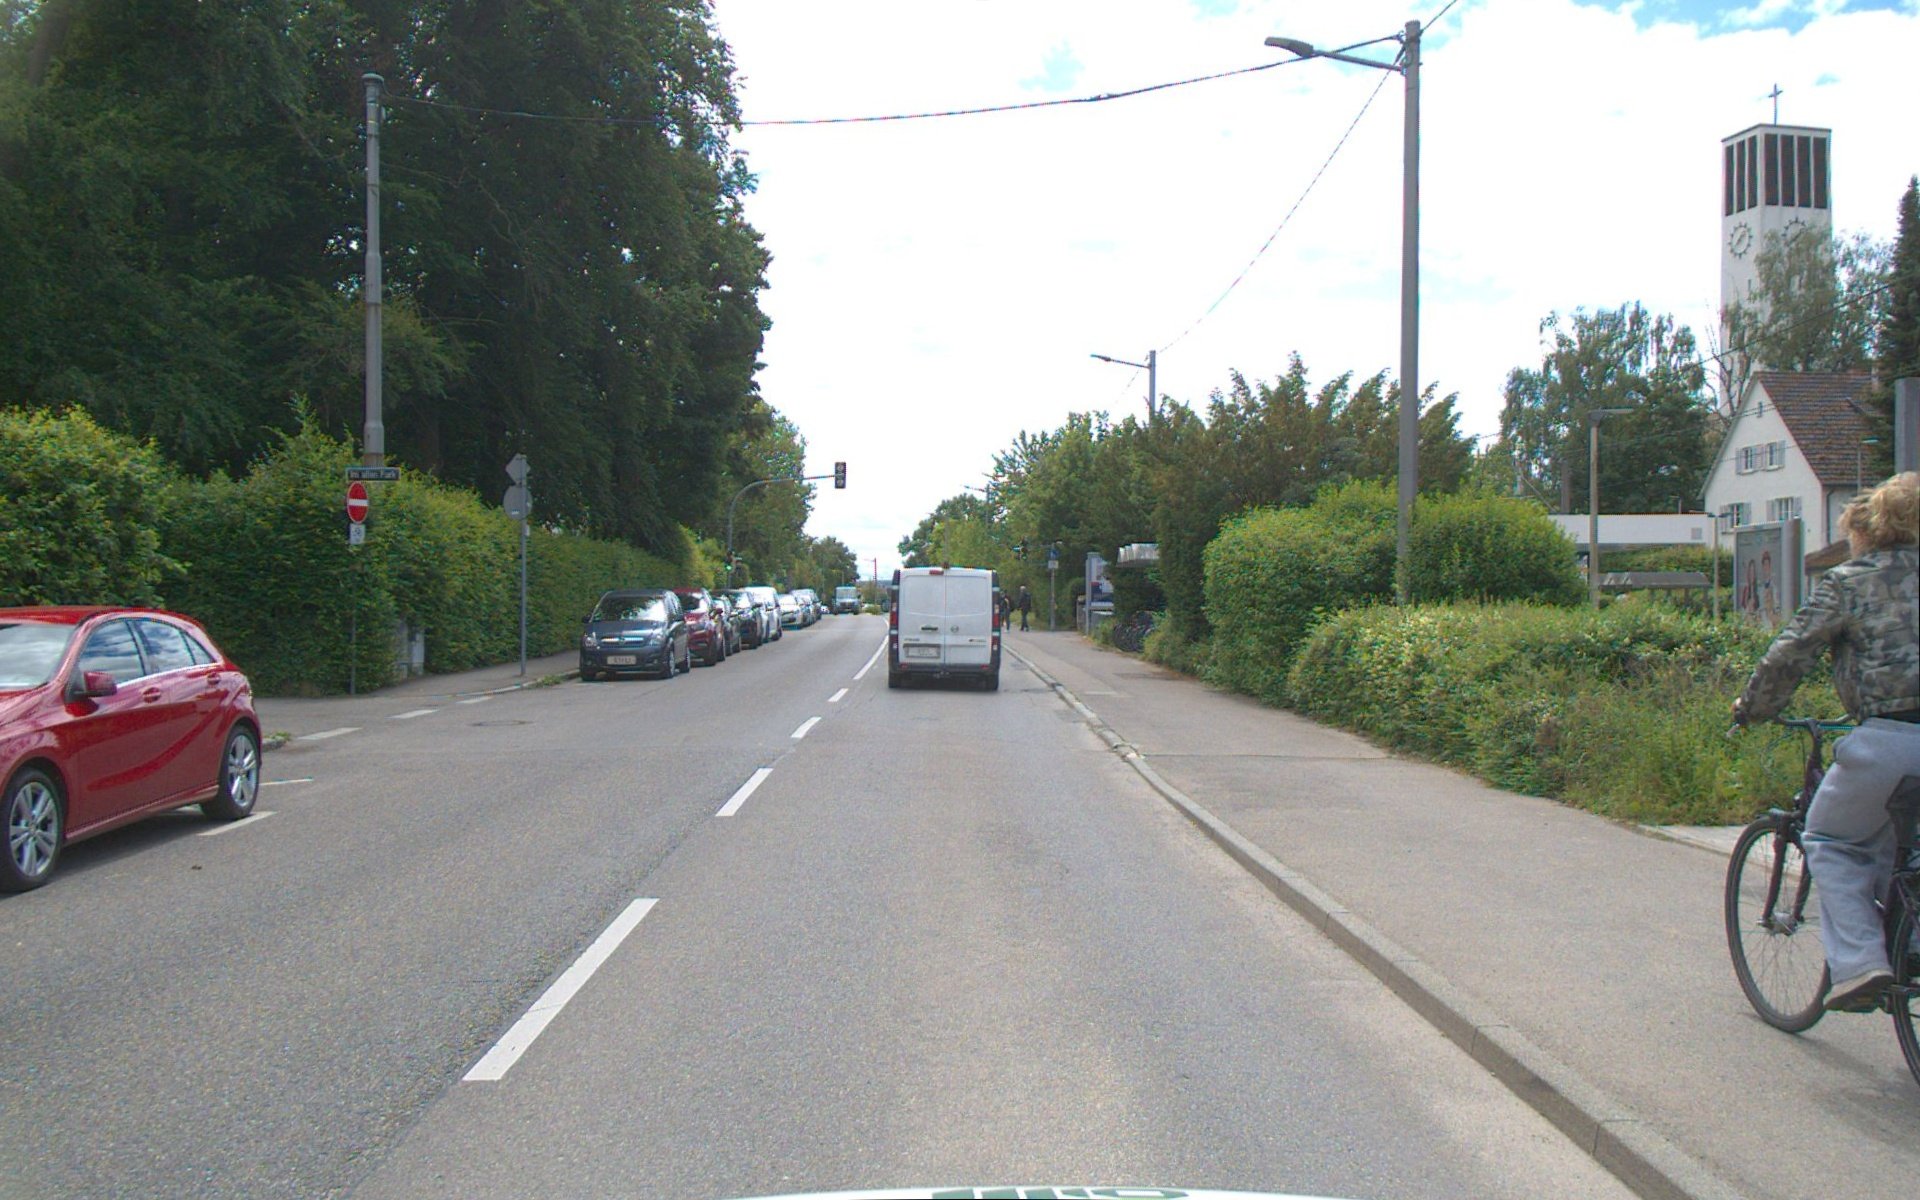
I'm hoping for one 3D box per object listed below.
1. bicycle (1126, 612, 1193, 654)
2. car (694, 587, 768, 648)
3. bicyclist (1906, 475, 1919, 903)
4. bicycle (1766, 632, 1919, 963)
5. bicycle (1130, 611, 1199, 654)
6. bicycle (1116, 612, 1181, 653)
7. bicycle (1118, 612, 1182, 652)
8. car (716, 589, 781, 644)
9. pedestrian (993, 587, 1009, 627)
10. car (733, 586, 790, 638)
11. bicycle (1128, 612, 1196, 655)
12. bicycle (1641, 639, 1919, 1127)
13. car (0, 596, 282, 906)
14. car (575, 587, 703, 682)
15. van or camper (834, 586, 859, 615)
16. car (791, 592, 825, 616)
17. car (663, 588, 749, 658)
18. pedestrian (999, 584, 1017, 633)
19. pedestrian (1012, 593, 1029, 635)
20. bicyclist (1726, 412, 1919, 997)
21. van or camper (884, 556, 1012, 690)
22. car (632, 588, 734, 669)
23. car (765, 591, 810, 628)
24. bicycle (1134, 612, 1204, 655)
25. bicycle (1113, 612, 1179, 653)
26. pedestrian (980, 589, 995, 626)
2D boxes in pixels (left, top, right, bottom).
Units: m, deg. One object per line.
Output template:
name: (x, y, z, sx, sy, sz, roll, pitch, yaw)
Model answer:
bicycle: (5.183, 0.861, 42.952, 1.664, 1.048, 0.491, 1, 0, -3)
car: (-6.557, 0.470, 47.584, 1.726, 1.685, 3.813, -1, 0, -2)
bicyclist: (4.096, 0.356, 6.178, 0.626, 1.678, 0.818, 1, 0, -2)
bicycle: (4.081, 0.798, 6.490, 0.606, 1.268, 2.395, 1, 0, -1)
bicycle: (5.177, 0.823, 41.813, 1.664, 1.048, 0.491, 1, 0, -3)
bicycle: (5.019, 0.858, 44.156, 1.664, 1.048, 0.491, 1, 0, -3)
bicycle: (5.134, 0.867, 44.711, 1.664, 1.048, 0.491, 1, 0, -3)
car: (-6.726, 0.490, 52.830, 1.726, 1.685, 3.813, -1, 0, -2)
pedestrian: (1.926, 0.329, 77.907, 0.638, 1.838, 0.564, 1, 0, -13)
car: (-7.136, 0.402, 59.791, 1.726, 1.787, 3.813, -1, 0, -2)
bicycle: (5.174, 0.854, 42.388, 1.664, 1.048, 0.491, 1, 0, -3)
bicycle: (2.864, 0.794, 5.211, 0.535, 1.268, 2.055, 1, 0, -1)
car: (-5.596, 0.740, 9.602, 1.726, 1.497, 4.184, -1, 0, -2)
car: (-5.956, 0.594, 31.100, 1.726, 1.654, 4.184, -1, 0, -2)
van or camper: (-9.364, 0.025, 136.811, 1.965, 2.301, 4.609, 0, 0, -4)
car: (-9.465, 0.236, 103.011, 1.744, 1.449, 3.999, 1, 0, -1)
car: (-6.429, 0.552, 42.123, 1.726, 1.685, 3.813, -1, 0, -2)
pedestrian: (1.881, 0.327, 64.731, 0.666, 1.873, 0.646, 1, 0, 5)
pedestrian: (2.498, 0.565, 68.290, 0.660, 1.726, 0.522, 1, 0, 3)
bicyclist: (2.870, 0.294, 5.031, 0.703, 1.640, 0.757, 1, 0, -2)
van or camper: (-0.212, 0.380, 28.326, 1.953, 2.049, 4.445, 2, 0, -1)
car: (-6.091, 0.593, 36.770, 1.726, 1.685, 4.059, -1, 0, -2)
car: (-7.621, 0.408, 73.348, 1.726, 1.584, 3.813, -1, 0, -2)
bicycle: (5.197, 0.826, 41.258, 1.664, 1.048, 0.491, 1, 0, -3)
bicycle: (4.894, 0.856, 43.634, 1.664, 1.048, 0.491, 1, 0, -3)
pedestrian: (1.412, 0.397, 85.290, 0.688, 1.883, 0.666, 1, 0, -1)
